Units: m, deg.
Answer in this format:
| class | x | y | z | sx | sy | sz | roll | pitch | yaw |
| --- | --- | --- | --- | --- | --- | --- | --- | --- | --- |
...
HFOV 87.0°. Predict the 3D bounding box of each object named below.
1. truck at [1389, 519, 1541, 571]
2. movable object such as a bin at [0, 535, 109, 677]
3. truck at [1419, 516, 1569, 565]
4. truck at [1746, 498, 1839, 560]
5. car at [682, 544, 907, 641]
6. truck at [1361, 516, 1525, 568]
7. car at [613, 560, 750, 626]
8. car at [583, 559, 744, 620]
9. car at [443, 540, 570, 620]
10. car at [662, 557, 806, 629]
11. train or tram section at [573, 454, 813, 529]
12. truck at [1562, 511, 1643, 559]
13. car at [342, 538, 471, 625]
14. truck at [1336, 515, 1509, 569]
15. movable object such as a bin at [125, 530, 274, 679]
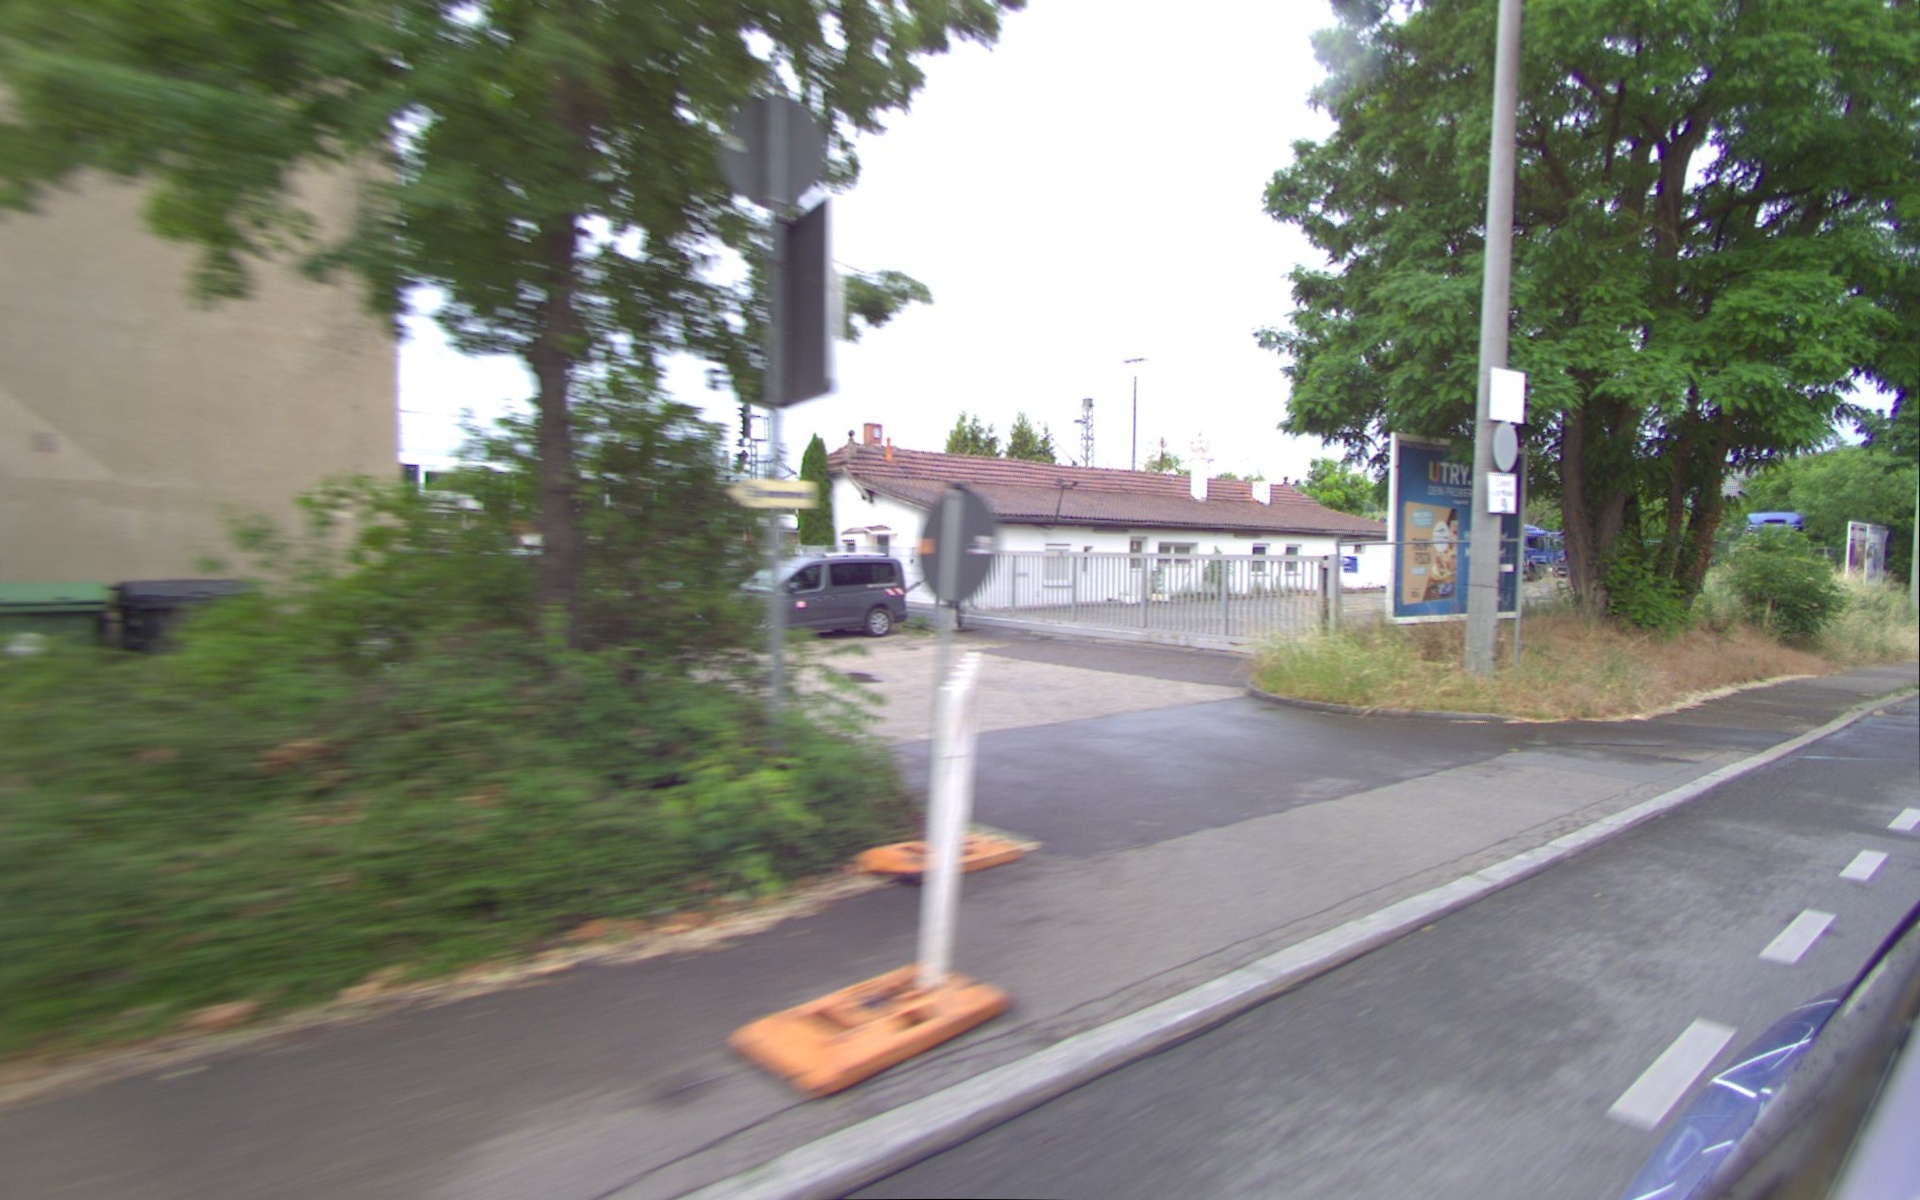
| class | x | y | z | sx | sy | sz | roll | pitch | yaw |
| --- | --- | --- | --- | --- | --- | --- | --- | --- | --- |
| truck | 29.965 | -3.311 | 60.379 | 2.543 | 2.890 | 7.724 | -2 | 4 | -42 |
| movable object such as a bin | -9.963 | 0.033 | 10.790 | 1.307 | 1.434 | 1.216 | 1 | 2 | -39 |
| truck | 32.787 | -3.652 | 62.428 | 2.543 | 2.849 | 7.750 | -2 | 4 | -42 |
| truck | 40.232 | -3.352 | 48.861 | 5.946 | 2.684 | 2.288 | -2 | -2 | -40 |
| car | -3.498 | -0.247 | 21.929 | 4.573 | 1.881 | 1.785 | -2 | 4 | -41 |
| truck | 27.214 | -3.286 | 57.395 | 2.543 | 2.771 | 8.019 | -2 | 4 | -42 |
| car | -6.854 | -0.213 | 24.997 | 2.900 | 1.494 | 1.560 | -2 | 4 | -41 |
| car | -7.897 | -0.341 | 27.133 | 3.931 | 1.480 | 1.430 | -2 | 4 | -41 |
| car | -11.506 | -0.556 | 25.549 | 1.727 | 1.845 | 3.992 | 0 | 3 | -43 |
| car | -5.243 | -0.210 | 23.588 | 2.965 | 1.548 | 1.417 | -2 | 4 | -41 |
| train or tram section | -17.328 | -6.972 | 67.365 | 15.613 | 3.869 | 3.285 | -1 | 1 | -40 |
| truck | 46.408 | -4.598 | 72.977 | 9.474 | 3.235 | 2.255 | -2 | 2 | -40 |
| car | -12.937 | -0.489 | 23.558 | 1.727 | 1.845 | 3.804 | 0 | 3 | -43 |
| truck | 24.737 | -3.130 | 54.545 | 2.543 | 2.686 | 8.105 | -2 | 4 | -42 |
| movable object such as a bin | -8.835 | 0.019 | 11.772 | 1.307 | 1.606 | 1.216 | 1 | 2 | -39 |
